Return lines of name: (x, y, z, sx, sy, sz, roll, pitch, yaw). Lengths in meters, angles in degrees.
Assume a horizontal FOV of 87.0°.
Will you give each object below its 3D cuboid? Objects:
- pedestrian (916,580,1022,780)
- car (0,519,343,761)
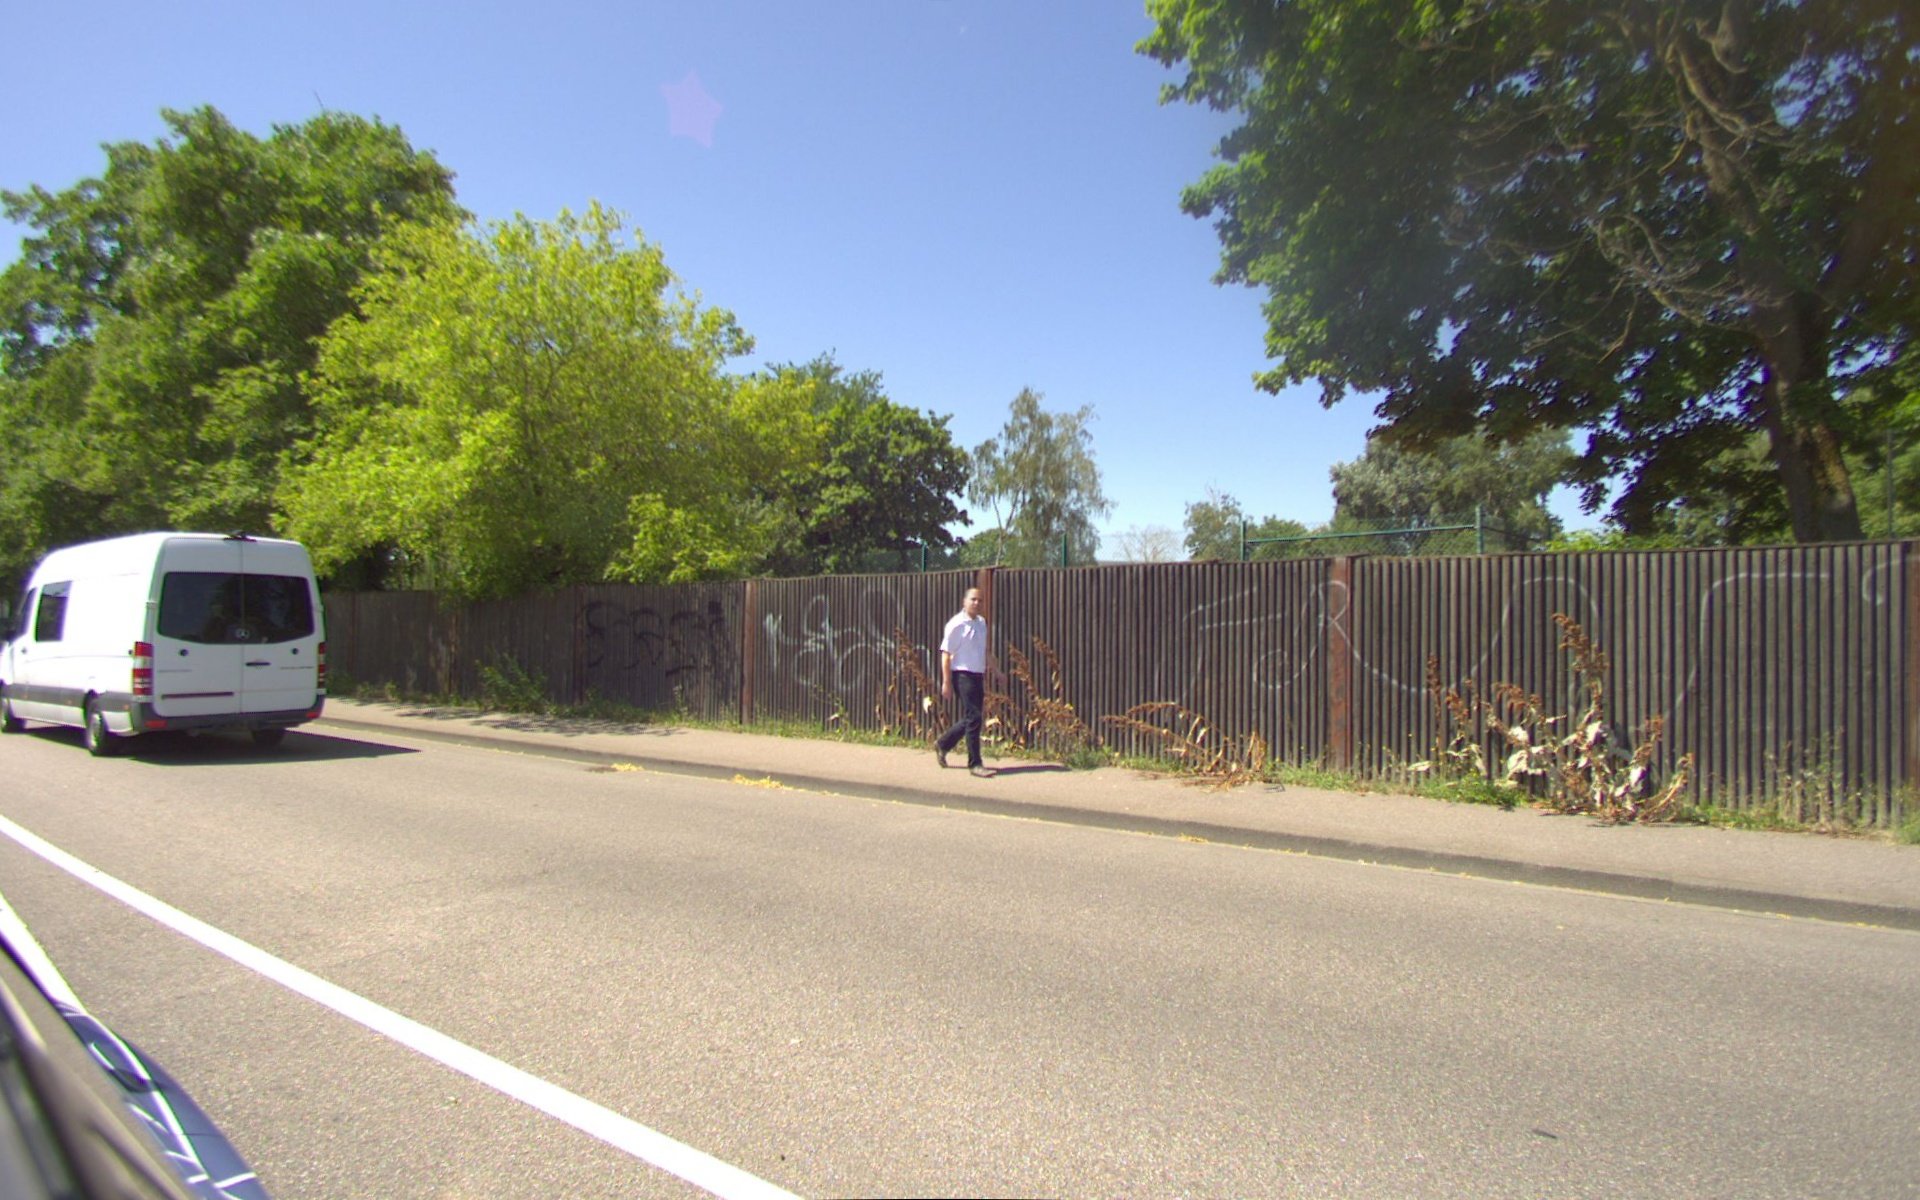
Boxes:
pedestrian: (0.083, 0.744, 9.811, 0.850, 1.838, 0.586, -1, -1, 41)
car: (-10.900, 0.492, 13.510, 6.813, 2.558, 2.002, -1, -2, 36)
